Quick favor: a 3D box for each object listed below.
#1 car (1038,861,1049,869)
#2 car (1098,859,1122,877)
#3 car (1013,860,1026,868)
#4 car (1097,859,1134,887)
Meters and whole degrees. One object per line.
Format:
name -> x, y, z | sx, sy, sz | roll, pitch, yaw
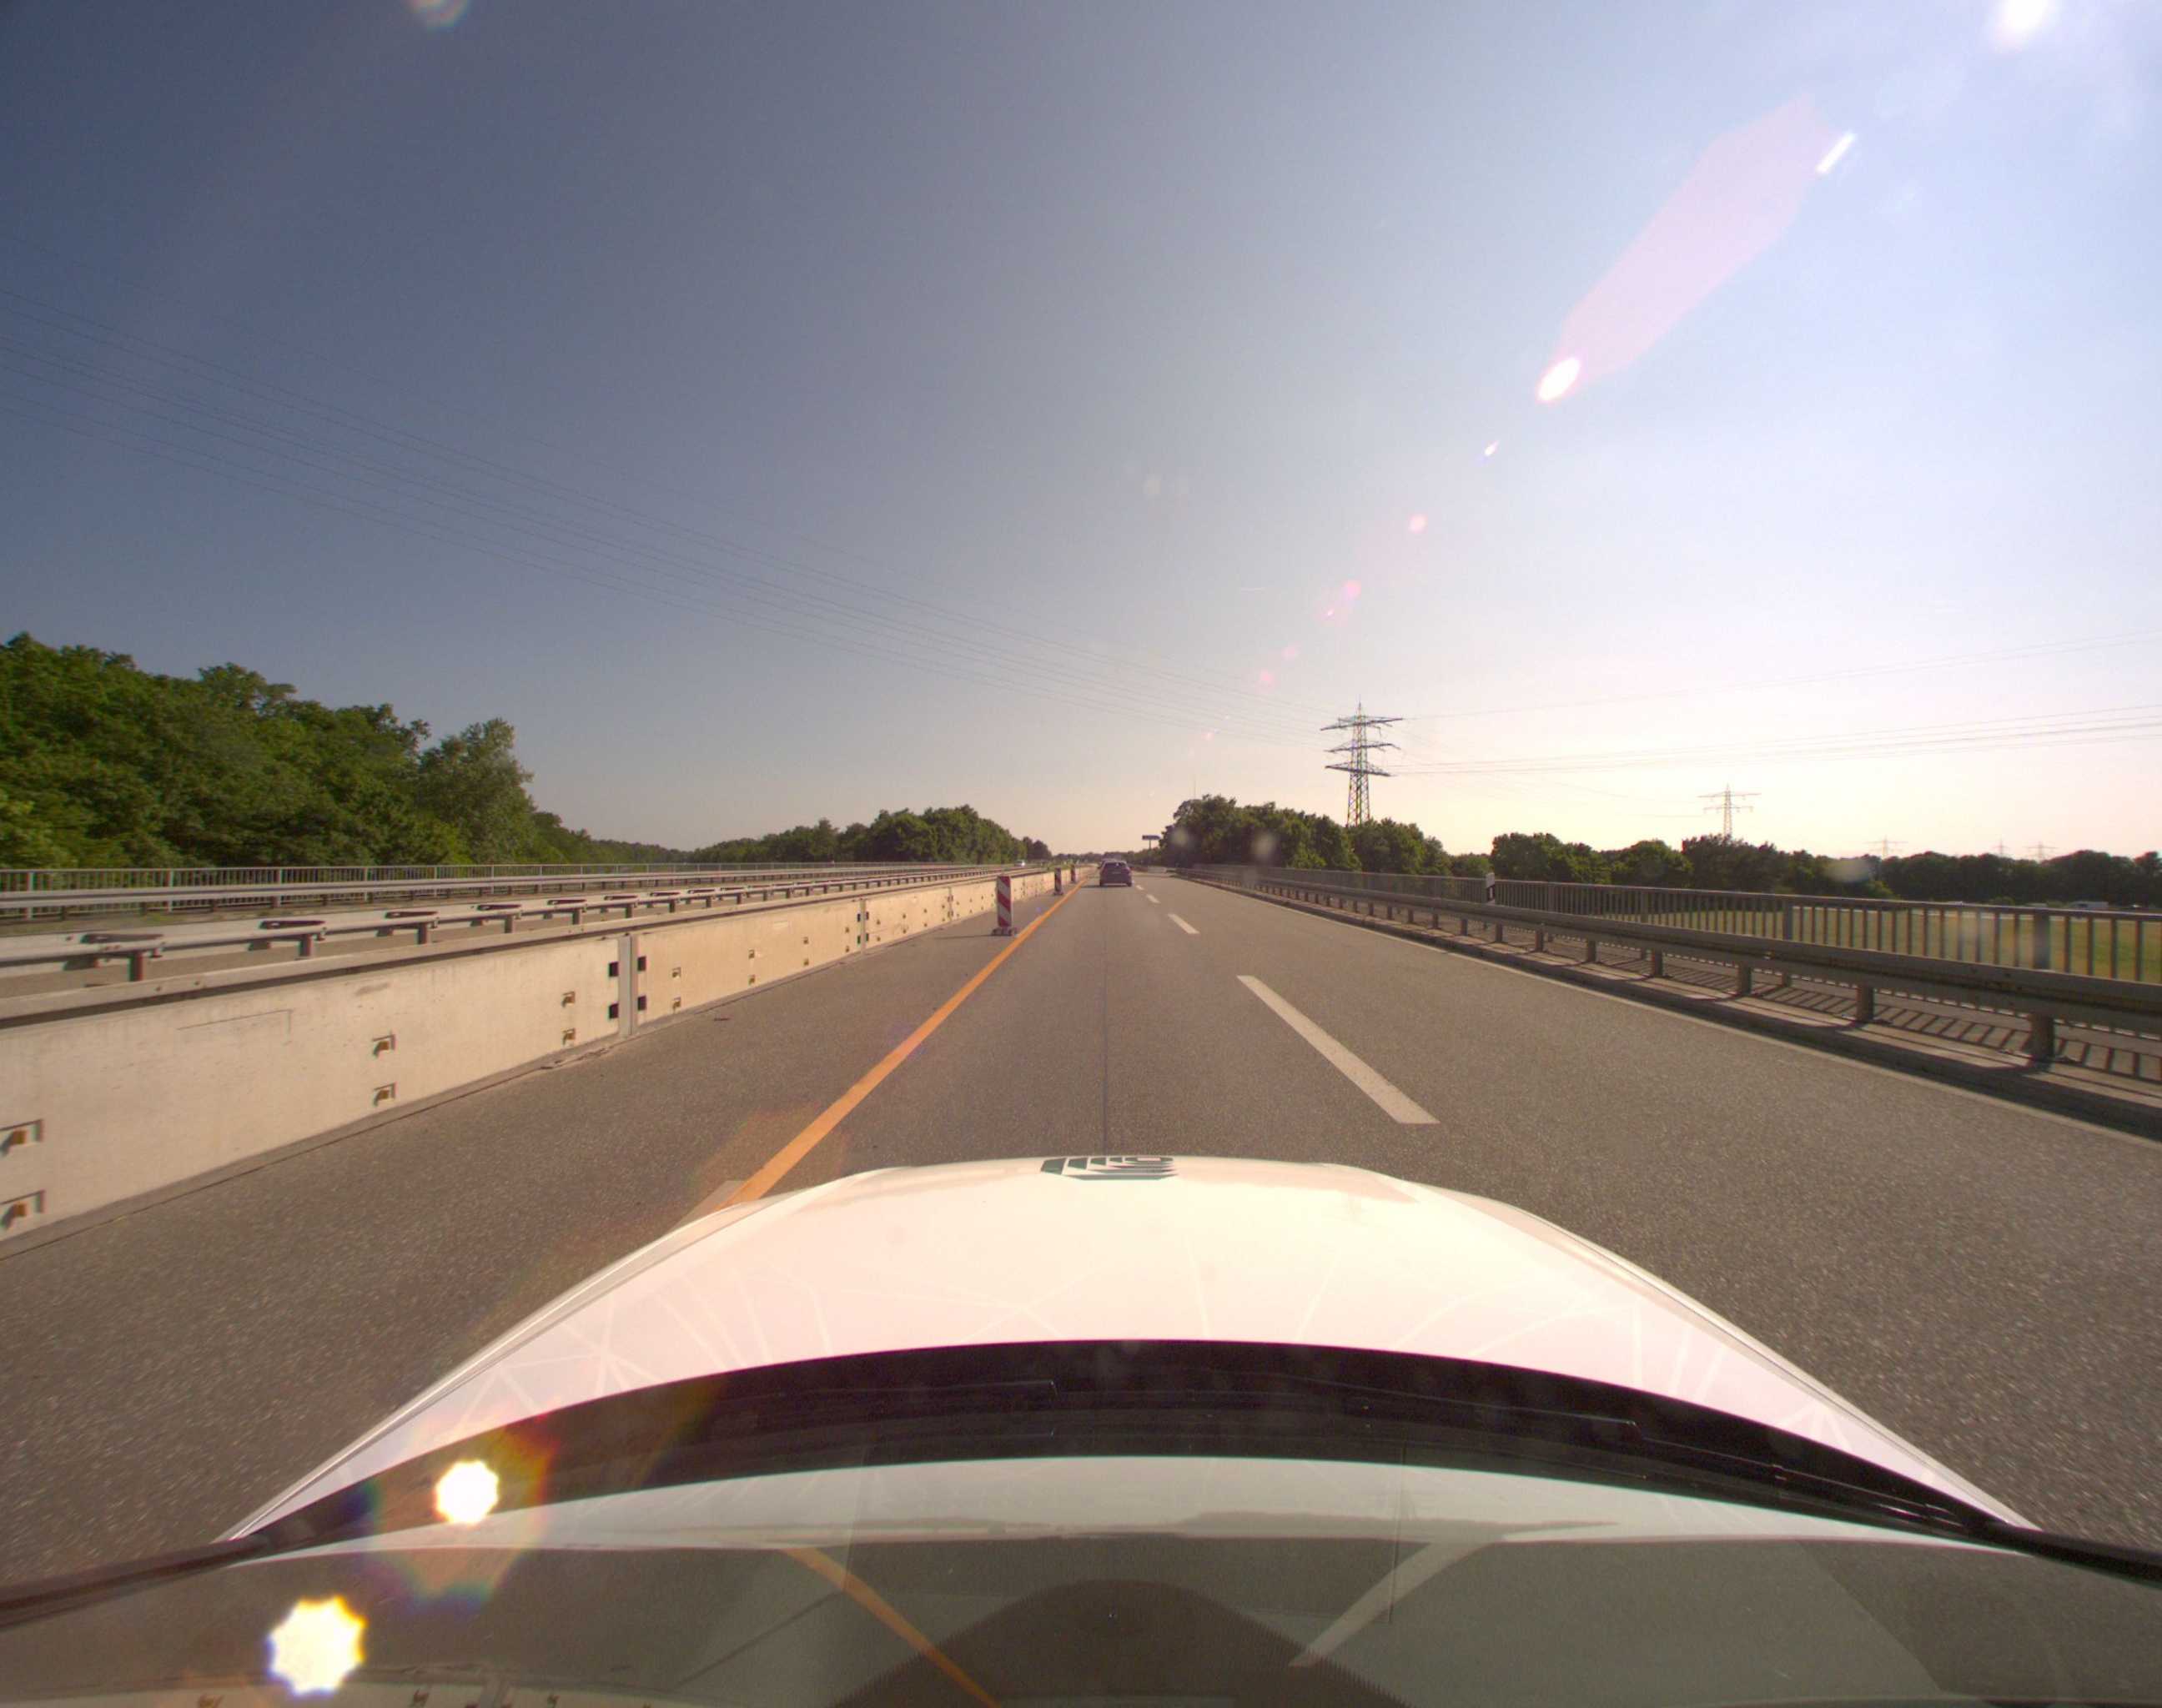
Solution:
car -> -6.615, 1.869, 144.036 | 1.708, 1.397, 4.222 | 0, -1, 1
car -> 2.563, 1.191, 70.702 | 1.986, 1.567, 4.002 | -1, -1, 2
car -> -10.621, 1.697, 140.329 | 1.770, 1.393, 4.127 | -1, -1, 2
car -> 1.890, 1.017, 45.583 | 1.914, 1.494, 4.000 | 0, -1, 0
